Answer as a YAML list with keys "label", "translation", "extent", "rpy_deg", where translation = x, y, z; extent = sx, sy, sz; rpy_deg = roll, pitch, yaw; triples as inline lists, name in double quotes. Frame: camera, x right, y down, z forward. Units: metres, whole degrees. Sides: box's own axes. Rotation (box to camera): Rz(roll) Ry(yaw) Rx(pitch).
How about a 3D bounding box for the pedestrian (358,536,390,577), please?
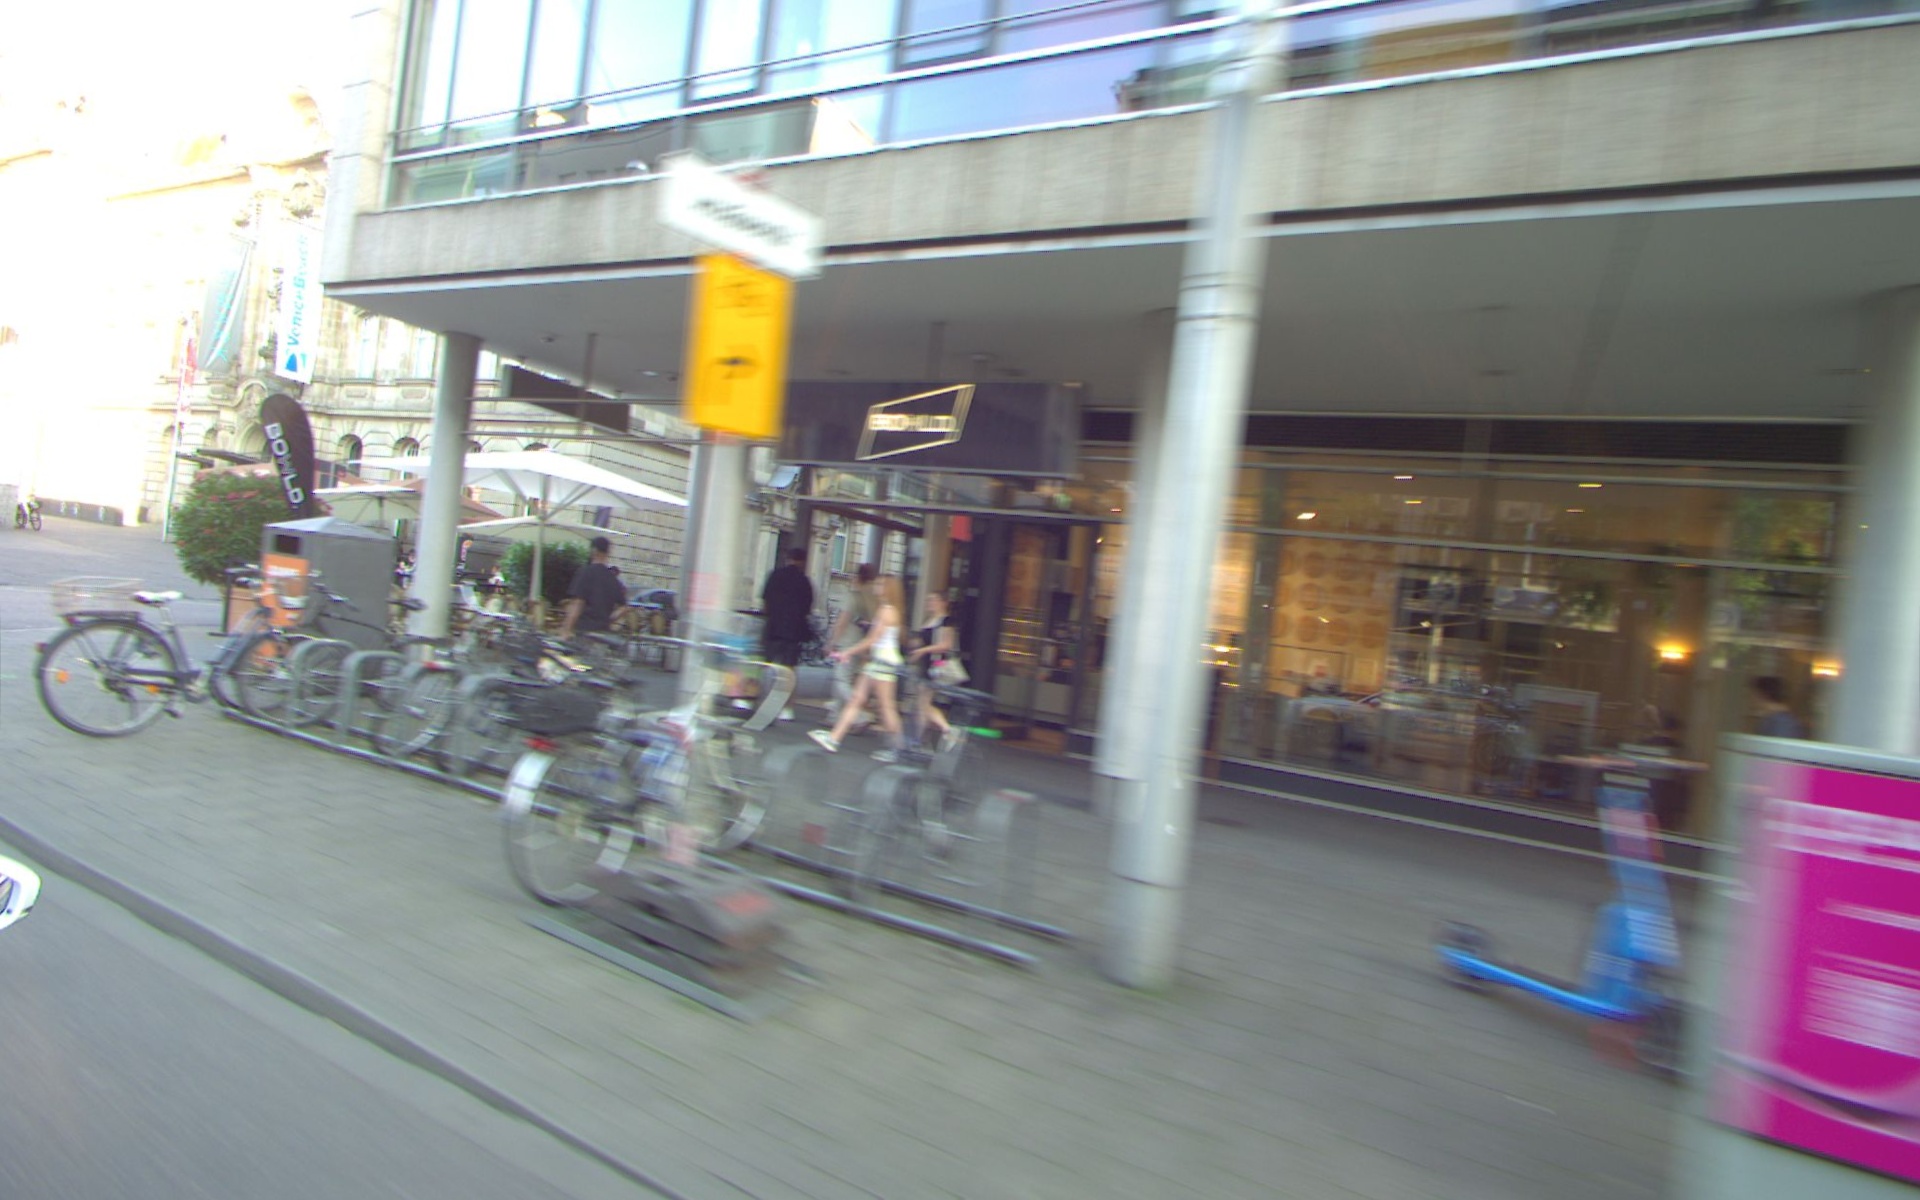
- label: "pedestrian"
  translation: [-20.829, -1.547, 35.736]
  extent: [0.571, 1.324, 0.594]
  rpy_deg: [10, 1, 24]

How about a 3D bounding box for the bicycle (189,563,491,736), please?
- label: "bicycle"
  translation: [-4.710, 0.382, 7.806]
  extent: [0.655, 1.123, 1.856]
  rpy_deg: [7, 0, 26]

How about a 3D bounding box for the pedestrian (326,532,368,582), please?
- label: "pedestrian"
  translation: [-19.226, -1.342, 31.555]
  extent: [0.643, 1.399, 0.803]
  rpy_deg: [10, 1, 39]

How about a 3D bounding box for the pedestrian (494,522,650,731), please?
- label: "pedestrian"
  translation: [-3.506, 0.235, 9.103]
  extent: [0.908, 1.740, 0.764]
  rpy_deg: [6, 1, 30]

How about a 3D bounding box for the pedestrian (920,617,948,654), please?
- label: "pedestrian"
  translation: [-1.258, 1.744, 49.414]
  extent: [0.785, 1.695, 0.974]
  rpy_deg: [10, 1, 26]

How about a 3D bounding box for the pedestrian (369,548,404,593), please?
- label: "pedestrian"
  translation: [-17.878, -0.914, 31.341]
  extent: [0.691, 1.241, 0.614]
  rpy_deg: [10, 1, 42]

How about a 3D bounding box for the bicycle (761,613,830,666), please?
- label: "bicycle"
  translation: [-3.696, 0.912, 22.755]
  extent: [0.551, 1.053, 1.683]
  rpy_deg: [5, -2, 29]

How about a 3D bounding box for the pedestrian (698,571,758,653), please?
- label: "pedestrian"
  translation: [-5.774, 0.311, 25.063]
  extent: [0.858, 1.862, 0.867]
  rpy_deg: [10, 1, 23]

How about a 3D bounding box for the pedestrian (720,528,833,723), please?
- label: "pedestrian"
  translation: [-2.035, 0.279, 11.210]
  extent: [0.769, 2.039, 0.687]
  rpy_deg: [7, 1, 29]

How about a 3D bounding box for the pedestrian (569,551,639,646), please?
- label: "pedestrian"
  translation: [-7.520, -0.023, 21.281]
  extent: [0.859, 1.860, 0.806]
  rpy_deg: [7, -1, 28]

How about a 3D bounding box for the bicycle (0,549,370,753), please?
- label: "bicycle"
  translation: [-5.122, 0.335, 6.771]
  extent: [0.655, 1.123, 1.856]
  rpy_deg: [7, 0, 26]

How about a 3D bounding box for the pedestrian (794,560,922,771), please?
- label: "pedestrian"
  translation: [-0.892, 0.567, 9.008]
  extent: [0.795, 1.716, 0.805]
  rpy_deg: [7, 1, 8]

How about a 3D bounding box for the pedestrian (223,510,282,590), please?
- label: "pedestrian"
  translation: [-17.679, -1.249, 25.146]
  extent: [0.792, 1.846, 0.809]
  rpy_deg: [8, 1, 33]

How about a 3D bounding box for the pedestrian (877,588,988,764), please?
- label: "pedestrian"
  translation: [-0.245, 0.714, 9.787]
  extent: [0.795, 1.555, 0.805]
  rpy_deg: [7, 1, 8]

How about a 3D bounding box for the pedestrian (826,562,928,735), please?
- label: "pedestrian"
  translation: [-0.924, 0.538, 11.290]
  extent: [0.707, 1.809, 0.664]
  rpy_deg: [7, 1, 29]

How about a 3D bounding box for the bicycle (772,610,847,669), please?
- label: "bicycle"
  translation: [-3.164, 0.864, 21.350]
  extent: [0.537, 1.130, 1.811]
  rpy_deg: [5, -2, 27]

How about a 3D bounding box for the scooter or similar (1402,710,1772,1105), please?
- label: "scooter or similar"
  translation: [2.564, 1.196, 4.257]
  extent: [0.388, 1.267, 1.184]
  rpy_deg: [7, 1, -23]

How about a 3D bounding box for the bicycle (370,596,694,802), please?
- label: "bicycle"
  translation: [-2.739, 0.594, 6.710]
  extent: [0.749, 1.091, 1.919]
  rpy_deg: [7, 1, 23]

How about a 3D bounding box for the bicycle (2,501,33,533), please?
- label: "bicycle"
  translation: [-28.314, -2.498, 30.233]
  extent: [0.982, 0.878, 0.316]
  rpy_deg: [7, 1, 27]

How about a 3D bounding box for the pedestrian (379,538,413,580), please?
- label: "pedestrian"
  translation: [-19.787, -1.436, 35.297]
  extent: [0.598, 1.324, 0.609]
  rpy_deg: [10, 1, 24]

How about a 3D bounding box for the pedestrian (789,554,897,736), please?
- label: "pedestrian"
  translation: [-1.240, 0.475, 10.695]
  extent: [0.707, 1.809, 0.664]
  rpy_deg: [7, 1, 29]

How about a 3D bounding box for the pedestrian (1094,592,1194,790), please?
- label: "pedestrian"
  translation: [1.746, 0.844, 9.538]
  extent: [0.606, 1.753, 0.571]
  rpy_deg: [7, 1, 27]

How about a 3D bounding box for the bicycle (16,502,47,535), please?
- label: "bicycle"
  translation: [-28.165, -2.467, 30.522]
  extent: [0.982, 0.878, 0.316]
  rpy_deg: [7, 1, 27]

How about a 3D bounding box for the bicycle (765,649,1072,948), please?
- label: "bicycle"
  translation: [-0.105, 0.897, 5.329]
  extent: [0.712, 1.170, 2.000]
  rpy_deg: [7, 1, 23]

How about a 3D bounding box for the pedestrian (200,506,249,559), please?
- label: "pedestrian"
  translation: [-24.442, -2.237, 33.438]
  extent: [0.835, 1.585, 0.850]
  rpy_deg: [9, 1, 24]

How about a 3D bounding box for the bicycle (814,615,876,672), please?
- label: "bicycle"
  translation: [-2.506, 0.976, 22.110]
  extent: [0.536, 1.130, 1.814]
  rpy_deg: [5, -2, 19]

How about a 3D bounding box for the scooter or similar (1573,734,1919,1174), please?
- label: "scooter or similar"
  translation: [3.038, 1.257, 3.924]
  extent: [0.386, 1.267, 1.190]
  rpy_deg: [7, 1, -1]

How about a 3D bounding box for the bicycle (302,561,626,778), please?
- label: "bicycle"
  translation: [-3.369, 0.446, 7.062]
  extent: [0.749, 1.238, 1.919]
  rpy_deg: [7, 1, 23]

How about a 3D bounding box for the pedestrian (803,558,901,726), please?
- label: "pedestrian"
  translation: [-1.268, 0.493, 11.860]
  extent: [0.708, 1.871, 0.663]
  rpy_deg: [7, 1, 34]

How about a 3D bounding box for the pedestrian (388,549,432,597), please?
- label: "pedestrian"
  translation: [-16.651, -0.810, 30.451]
  extent: [0.816, 1.257, 0.778]
  rpy_deg: [10, 1, 42]

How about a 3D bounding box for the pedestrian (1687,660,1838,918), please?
- label: "pedestrian"
  translation: [5.939, 1.362, 7.483]
  extent: [0.606, 1.753, 0.571]
  rpy_deg: [7, 1, 27]

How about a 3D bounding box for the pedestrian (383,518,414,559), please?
- label: "pedestrian"
  translation: [-20.243, -2.207, 36.253]
  extent: [0.572, 1.324, 0.593]
  rpy_deg: [10, 1, 26]

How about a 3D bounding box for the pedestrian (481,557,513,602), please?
- label: "pedestrian"
  translation: [-15.234, -0.687, 33.100]
  extent: [0.659, 1.325, 0.765]
  rpy_deg: [7, 3, -37]

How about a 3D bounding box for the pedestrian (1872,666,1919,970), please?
- label: "pedestrian"
  translation: [6.216, 1.333, 6.035]
  extent: [0.760, 1.794, 0.774]
  rpy_deg: [7, 1, 27]

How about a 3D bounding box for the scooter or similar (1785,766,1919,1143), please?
- label: "scooter or similar"
  translation: [3.758, 1.348, 3.611]
  extent: [0.488, 1.267, 1.115]
  rpy_deg: [7, 1, -2]

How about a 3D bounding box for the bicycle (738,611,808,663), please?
- label: "bicycle"
  translation: [-4.262, 0.856, 23.056]
  extent: [0.551, 1.053, 1.683]
  rpy_deg: [5, -2, 29]

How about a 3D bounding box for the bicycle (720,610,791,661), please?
- label: "bicycle"
  translation: [-4.712, 0.830, 23.279]
  extent: [0.551, 1.053, 1.683]
  rpy_deg: [5, -2, 29]

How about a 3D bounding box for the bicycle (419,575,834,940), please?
- label: "bicycle"
  translation: [-1.478, 0.642, 4.905]
  extent: [0.712, 1.350, 1.919]
  rpy_deg: [7, 1, 23]

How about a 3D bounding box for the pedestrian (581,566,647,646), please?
- label: "pedestrian"
  translation: [-7.591, 0.137, 22.095]
  extent: [0.859, 1.599, 0.806]
  rpy_deg: [7, -2, 28]

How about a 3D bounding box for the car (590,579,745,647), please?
- label: "car"
  translation: [-8.005, 0.409, 27.914]
  extent: [1.744, 1.425, 4.050]
  rpy_deg: [6, -2, 27]
